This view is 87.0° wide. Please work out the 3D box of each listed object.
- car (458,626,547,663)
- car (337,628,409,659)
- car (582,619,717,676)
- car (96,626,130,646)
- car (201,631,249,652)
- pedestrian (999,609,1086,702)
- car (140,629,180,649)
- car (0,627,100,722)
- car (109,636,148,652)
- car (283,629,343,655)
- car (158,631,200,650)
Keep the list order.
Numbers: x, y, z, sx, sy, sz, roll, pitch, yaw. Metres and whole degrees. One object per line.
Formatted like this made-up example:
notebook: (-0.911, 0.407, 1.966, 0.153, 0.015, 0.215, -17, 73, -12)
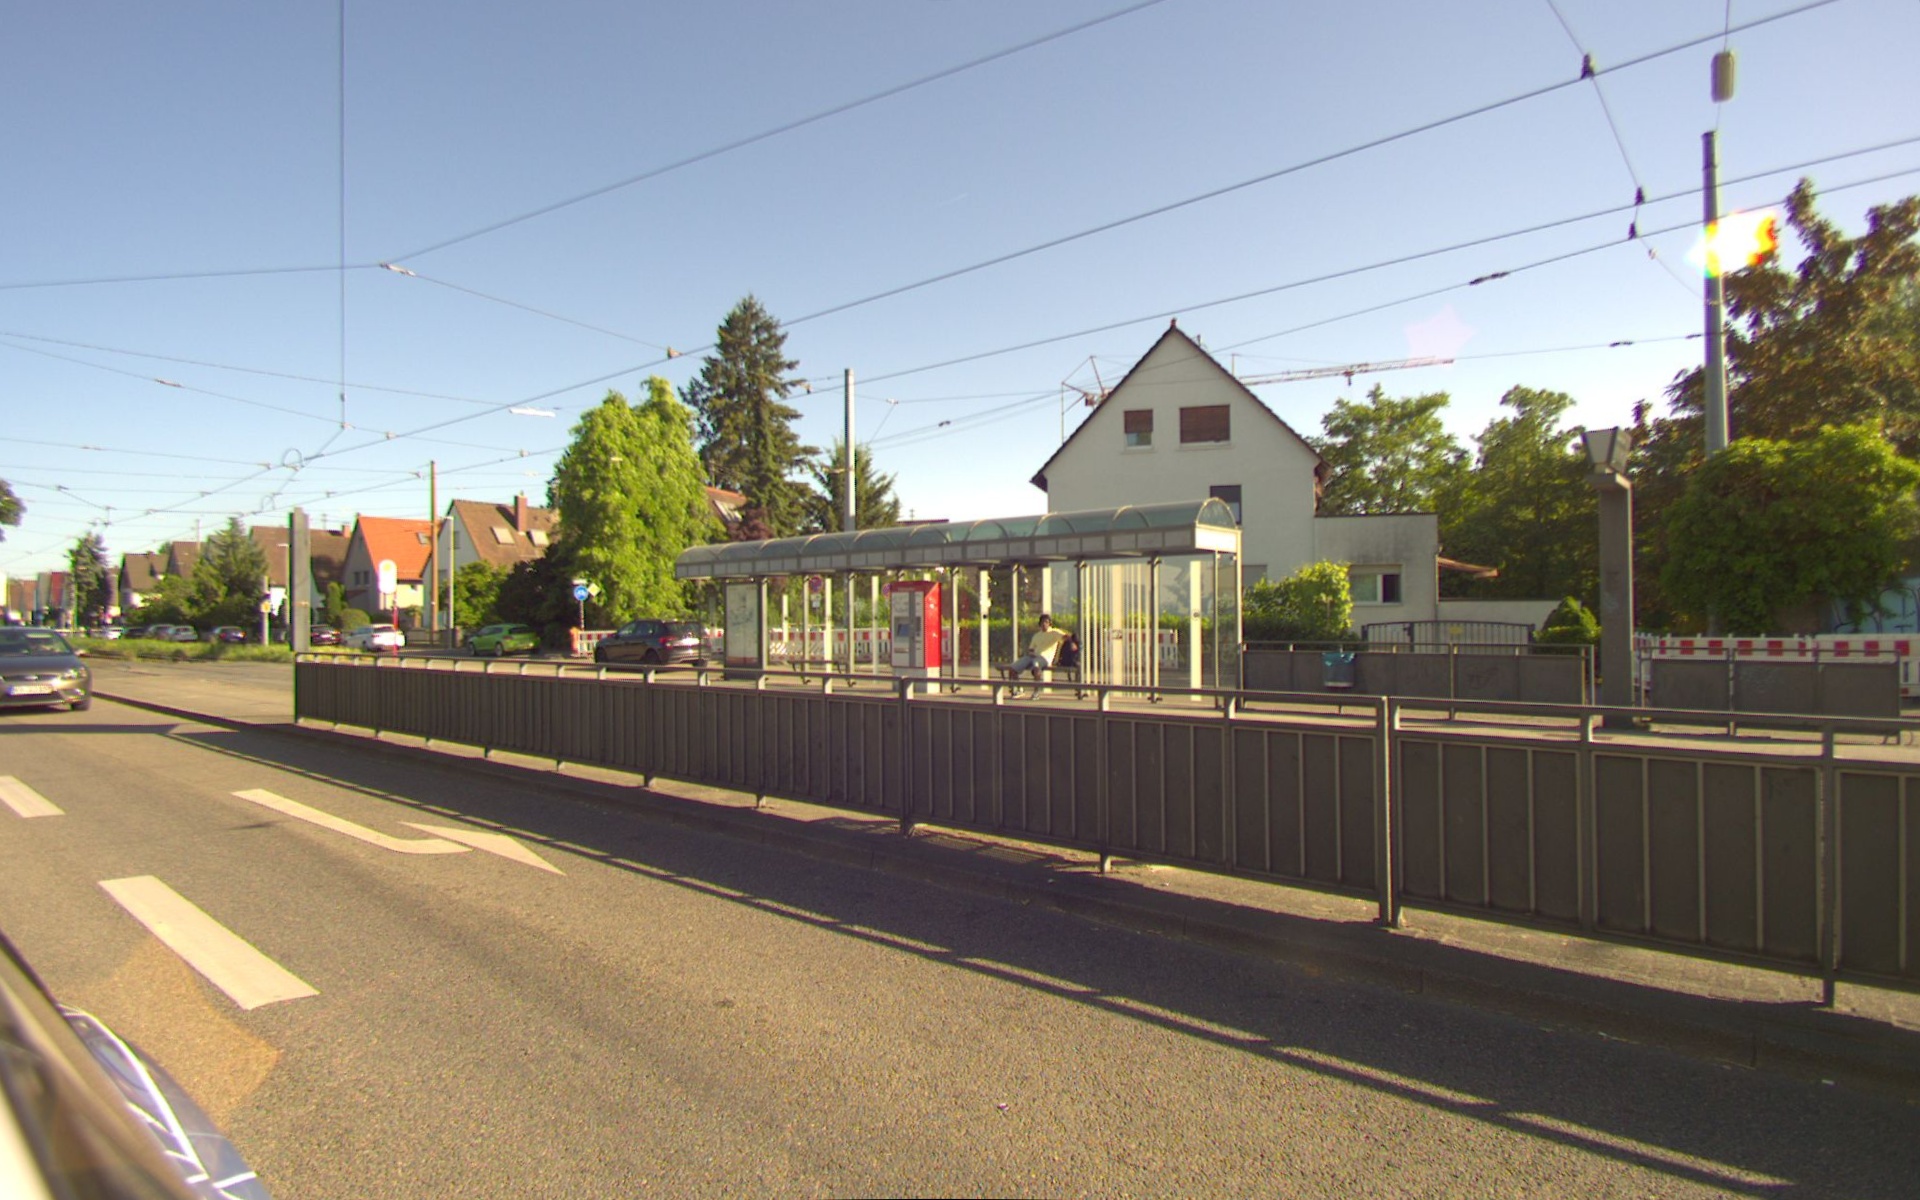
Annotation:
car: (-20.612, 1.969, 45.536, 4.062, 1.512, 1.975, -1, 0, 37)
car: (-31.871, 2.329, 54.909, 4.610, 1.483, 1.865, -1, 0, 40)
car: (-9.037, 1.351, 29.285, 4.341, 1.532, 1.717, -2, -2, 41)
car: (-83.483, 3.503, 99.733, 4.582, 1.877, 1.973, -2, -1, 41)
car: (-53.502, 3.008, 73.641, 4.308, 1.382, 1.972, -2, -1, 42)
pedestrian: (1.358, 0.897, 16.603, 1.006, 1.464, 1.050, -1, -3, 40)
car: (-68.081, 3.346, 86.132, 4.534, 1.573, 1.864, -2, 0, 41)
car: (-16.529, 1.230, 17.528, 4.329, 1.461, 1.758, -2, -1, 39)
car: (-77.006, 4.065, 93.668, 4.979, 1.351, 1.973, -1, 0, 41)
car: (-39.347, 2.528, 61.473, 4.438, 1.477, 1.887, -1, 0, 41)
car: (-64.086, 3.300, 83.034, 4.837, 1.483, 1.864, -2, 0, 42)
